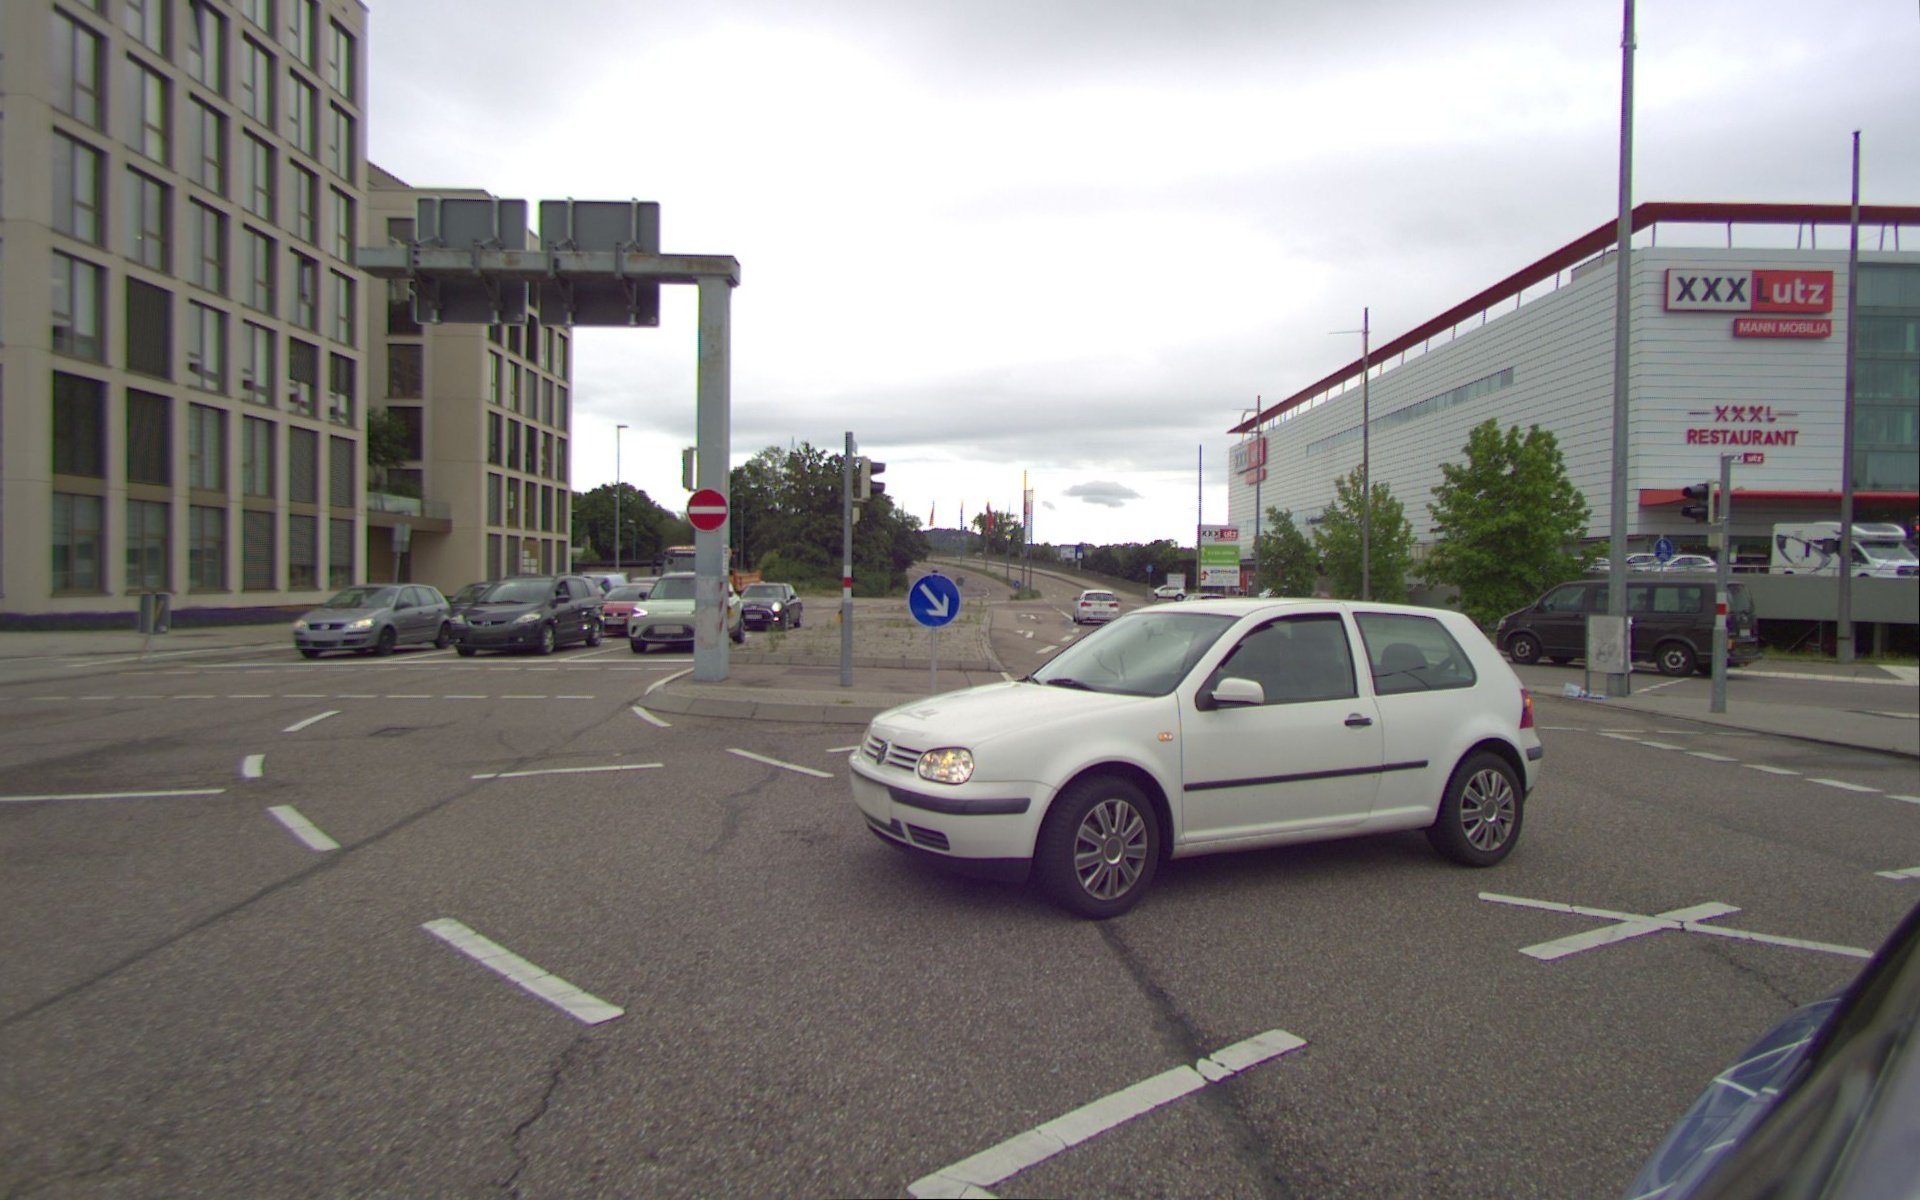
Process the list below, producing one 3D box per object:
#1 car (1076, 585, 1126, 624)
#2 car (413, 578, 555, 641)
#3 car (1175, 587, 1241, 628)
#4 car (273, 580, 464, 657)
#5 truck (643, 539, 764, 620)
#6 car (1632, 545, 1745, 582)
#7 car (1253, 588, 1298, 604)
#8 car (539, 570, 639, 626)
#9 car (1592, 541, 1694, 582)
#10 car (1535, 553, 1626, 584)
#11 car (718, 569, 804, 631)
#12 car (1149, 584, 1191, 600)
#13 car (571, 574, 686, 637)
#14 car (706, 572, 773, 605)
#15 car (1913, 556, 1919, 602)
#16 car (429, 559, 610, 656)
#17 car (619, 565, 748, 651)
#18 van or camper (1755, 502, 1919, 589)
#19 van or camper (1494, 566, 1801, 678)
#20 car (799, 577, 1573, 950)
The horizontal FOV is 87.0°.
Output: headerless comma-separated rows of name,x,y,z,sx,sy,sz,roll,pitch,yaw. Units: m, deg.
car,5.916,0.223,42.221,1.806,1.428,4.184,4,0,11
car,-12.226,0.239,26.314,1.836,1.509,4.150,0,0,-2
car,9.886,0.358,40.631,1.871,1.468,4.173,0,-3,4
car,-12.213,0.367,21.221,1.717,1.450,4.099,0,0,-2
truck,-9.196,-0.662,37.029,2.768,2.672,6.674,0,0,0
car,35.918,-1.783,49.991,4.181,1.697,1.776,-1,-1,3
car,32.969,-0.450,105.865,4.117,1.631,1.722,0,-1,-1
car,-12.533,-0.046,34.463,1.961,1.791,4.150,0,0,-2
car,36.191,-2.040,53.697,3.928,2.039,1.998,-1,-1,4
car,36.360,-1.849,59.403,4.181,1.697,1.776,-1,-1,3
car,-6.157,0.005,31.782,1.961,1.791,4.423,0,0,-2
car,21.609,-0.841,104.194,4.125,1.631,1.719,0,-1,7
car,-9.101,0.151,28.137,1.962,1.622,4.000,0,0,-1
car,-11.701,-0.556,54.022,1.968,1.678,4.346,-1,0,11
car,41.572,-0.910,41.150,1.834,1.972,3.869,0,0,-1
car,-8.991,0.150,21.120,1.961,1.791,4.423,0,0,-2
car,-5.805,0.169,21.729,1.868,1.664,4.070,0,0,-3
van or camper,37.088,-2.122,41.941,2.664,3.175,7.231,-1,0,2
van or camper,14.440,0.364,21.600,2.122,2.038,4.946,1,1,-34
car,1.252,0.652,5.705,3.921,1.497,1.841,0,-1,-24
